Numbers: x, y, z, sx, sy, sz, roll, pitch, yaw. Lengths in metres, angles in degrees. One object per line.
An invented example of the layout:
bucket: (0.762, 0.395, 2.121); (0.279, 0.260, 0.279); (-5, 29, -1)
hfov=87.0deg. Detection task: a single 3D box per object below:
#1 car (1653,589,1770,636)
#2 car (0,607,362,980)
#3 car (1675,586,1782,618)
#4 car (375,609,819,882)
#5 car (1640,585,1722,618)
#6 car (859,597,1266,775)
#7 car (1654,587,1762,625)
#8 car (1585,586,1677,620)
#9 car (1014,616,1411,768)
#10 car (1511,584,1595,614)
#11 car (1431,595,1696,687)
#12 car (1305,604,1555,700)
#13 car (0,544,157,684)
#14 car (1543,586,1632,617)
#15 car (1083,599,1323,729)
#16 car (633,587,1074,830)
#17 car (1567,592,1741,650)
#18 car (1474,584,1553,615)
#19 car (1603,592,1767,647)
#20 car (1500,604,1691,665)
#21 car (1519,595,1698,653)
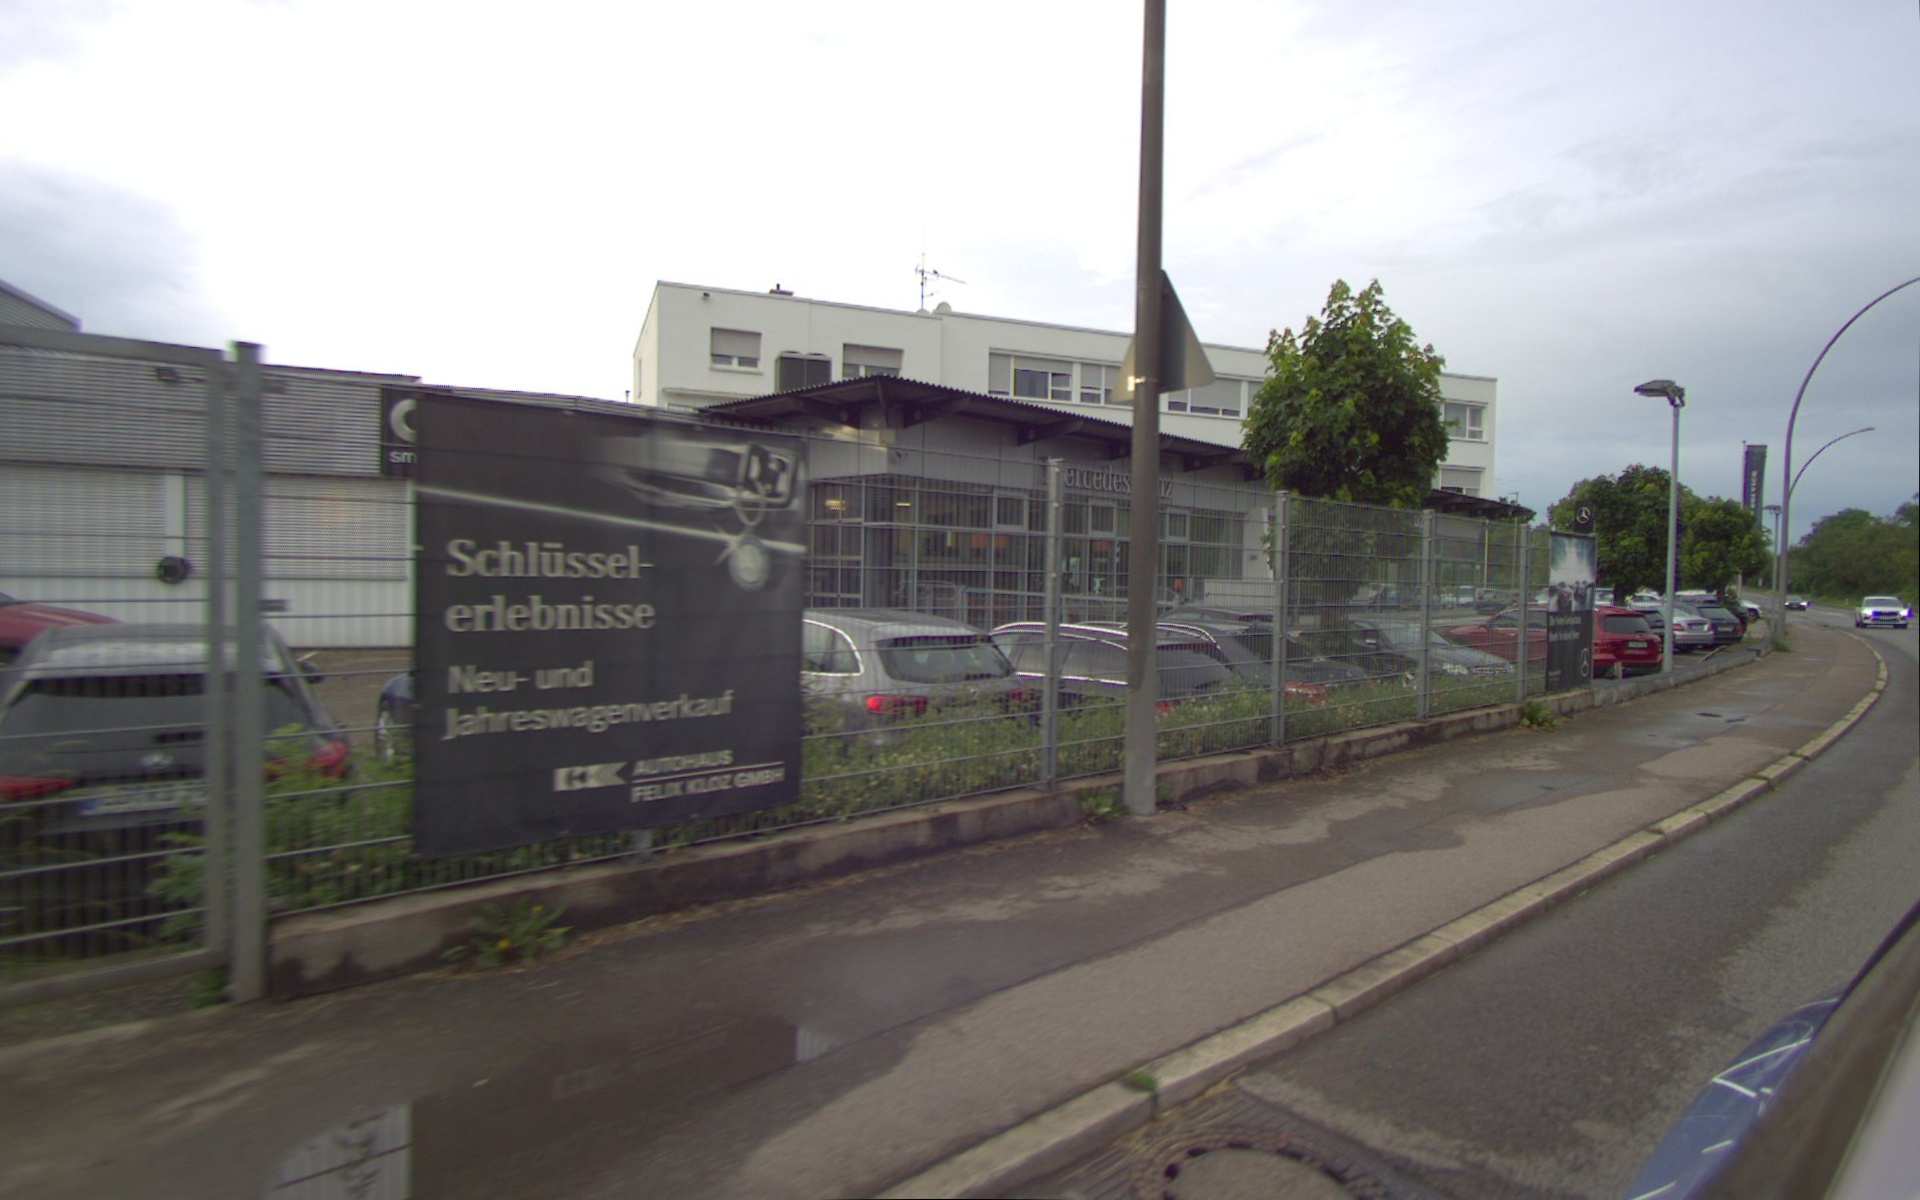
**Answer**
car: (29.201, 0.431, 39.486); (1.813, 1.628, 4.535); (2, 1, 11)
car: (-4.940, 0.824, 6.058); (1.792, 1.452, 3.996); (0, 1, -39)
car: (42.836, 0.089, 56.500); (4.348, 1.673, 1.925); (1, 1, 4)
car: (-2.964, 0.818, 7.689); (1.964, 1.421, 3.995); (-2, 0, -39)
car: (38.862, 0.075, 54.547); (3.484, 1.619, 1.668); (1, 2, -14)
car: (0.869, 0.731, 10.258); (3.987, 1.426, 1.568); (-1, 0, 44)
car: (36.086, 0.292, 48.856); (4.274, 1.652, 1.848); (1, 3, -14)
car: (33.933, 0.141, 51.178); (4.091, 1.619, 1.736); (1, 2, -20)
car: (2.805, 0.917, 11.884); (1.967, 1.387, 4.111); (-2, 0, -43)
car: (33.295, -0.055, 56.865); (3.915, 1.564, 1.908); (1, 1, -17)
car: (12.678, 0.785, 21.697); (1.958, 1.683, 4.707); (-2, 0, -18)
car: (8.430, 0.858, 18.594); (1.772, 1.459, 4.174); (1, 1, -18)
car: (-11.399, 0.188, 10.884); (3.917, 1.438, 2.003); (-2, 0, -24)
car: (33.451, 0.065, 53.976); (3.916, 1.564, 1.908); (1, 1, -16)
car: (3.454, 0.820, 14.572); (1.967, 1.462, 2.723); (-2, 4, -43)
car: (-1.175, 0.753, 9.114); (1.934, 1.618, 4.181); (-2, 0, -40)
car: (20.973, 0.582, 30.811); (1.798, 1.485, 4.185); (0, 3, -14)
car: (29.872, -0.054, 54.755); (1.743, 1.496, 3.571); (1, 2, -13)
car: (22.976, 0.573, 32.268); (1.859, 1.575, 4.007); (-2, 0, -12)
car: (16.939, 0.867, 27.254); (1.699, 1.317, 4.246); (-2, 2, -18)
car: (18.600, 0.648, 29.245); (1.934, 1.511, 3.977); (-2, 0, -19)
